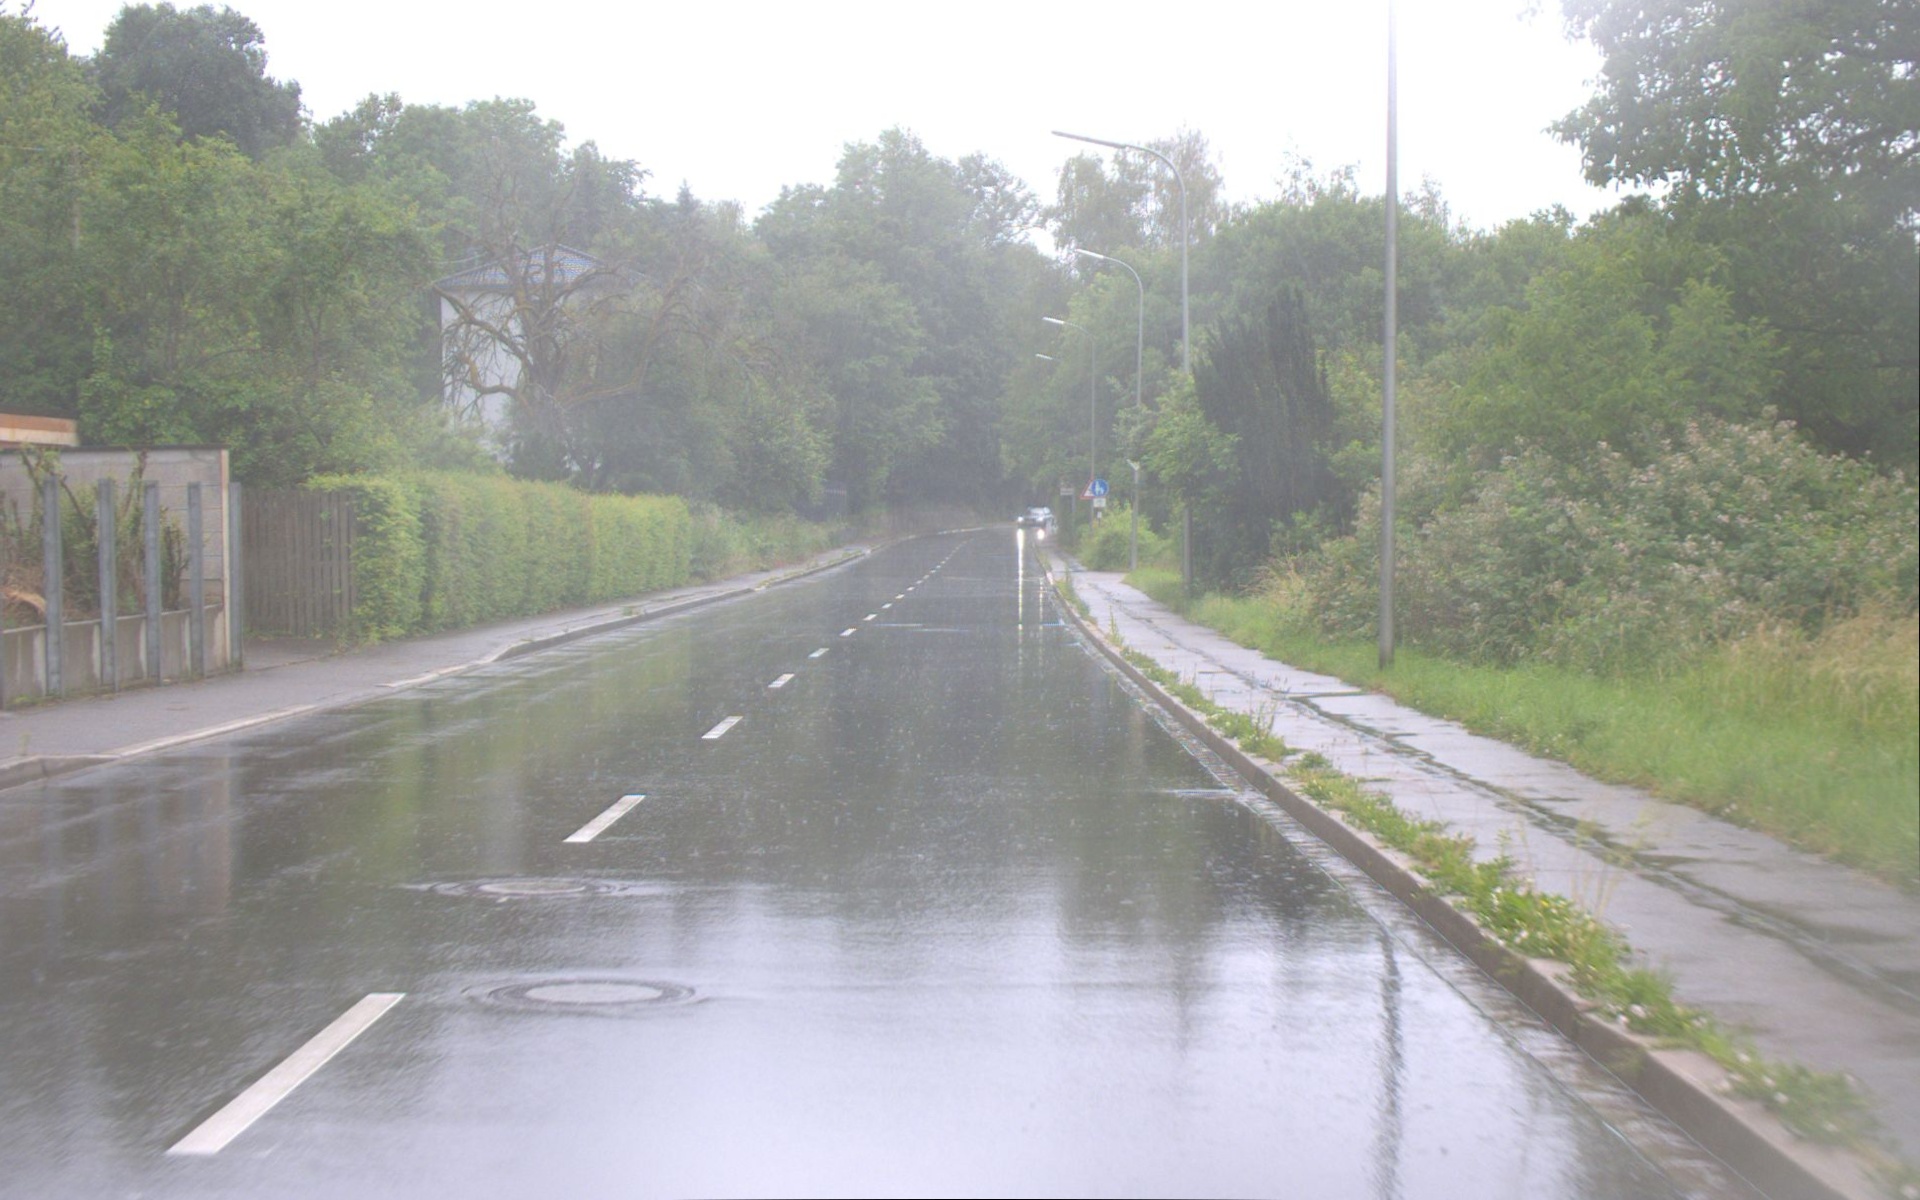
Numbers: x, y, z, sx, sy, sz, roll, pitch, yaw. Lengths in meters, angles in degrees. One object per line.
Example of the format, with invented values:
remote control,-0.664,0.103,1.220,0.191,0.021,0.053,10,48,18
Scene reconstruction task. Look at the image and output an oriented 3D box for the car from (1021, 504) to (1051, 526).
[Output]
car,5.224,-5.847,236.130,1.993,1.449,4.428,1,2,1
